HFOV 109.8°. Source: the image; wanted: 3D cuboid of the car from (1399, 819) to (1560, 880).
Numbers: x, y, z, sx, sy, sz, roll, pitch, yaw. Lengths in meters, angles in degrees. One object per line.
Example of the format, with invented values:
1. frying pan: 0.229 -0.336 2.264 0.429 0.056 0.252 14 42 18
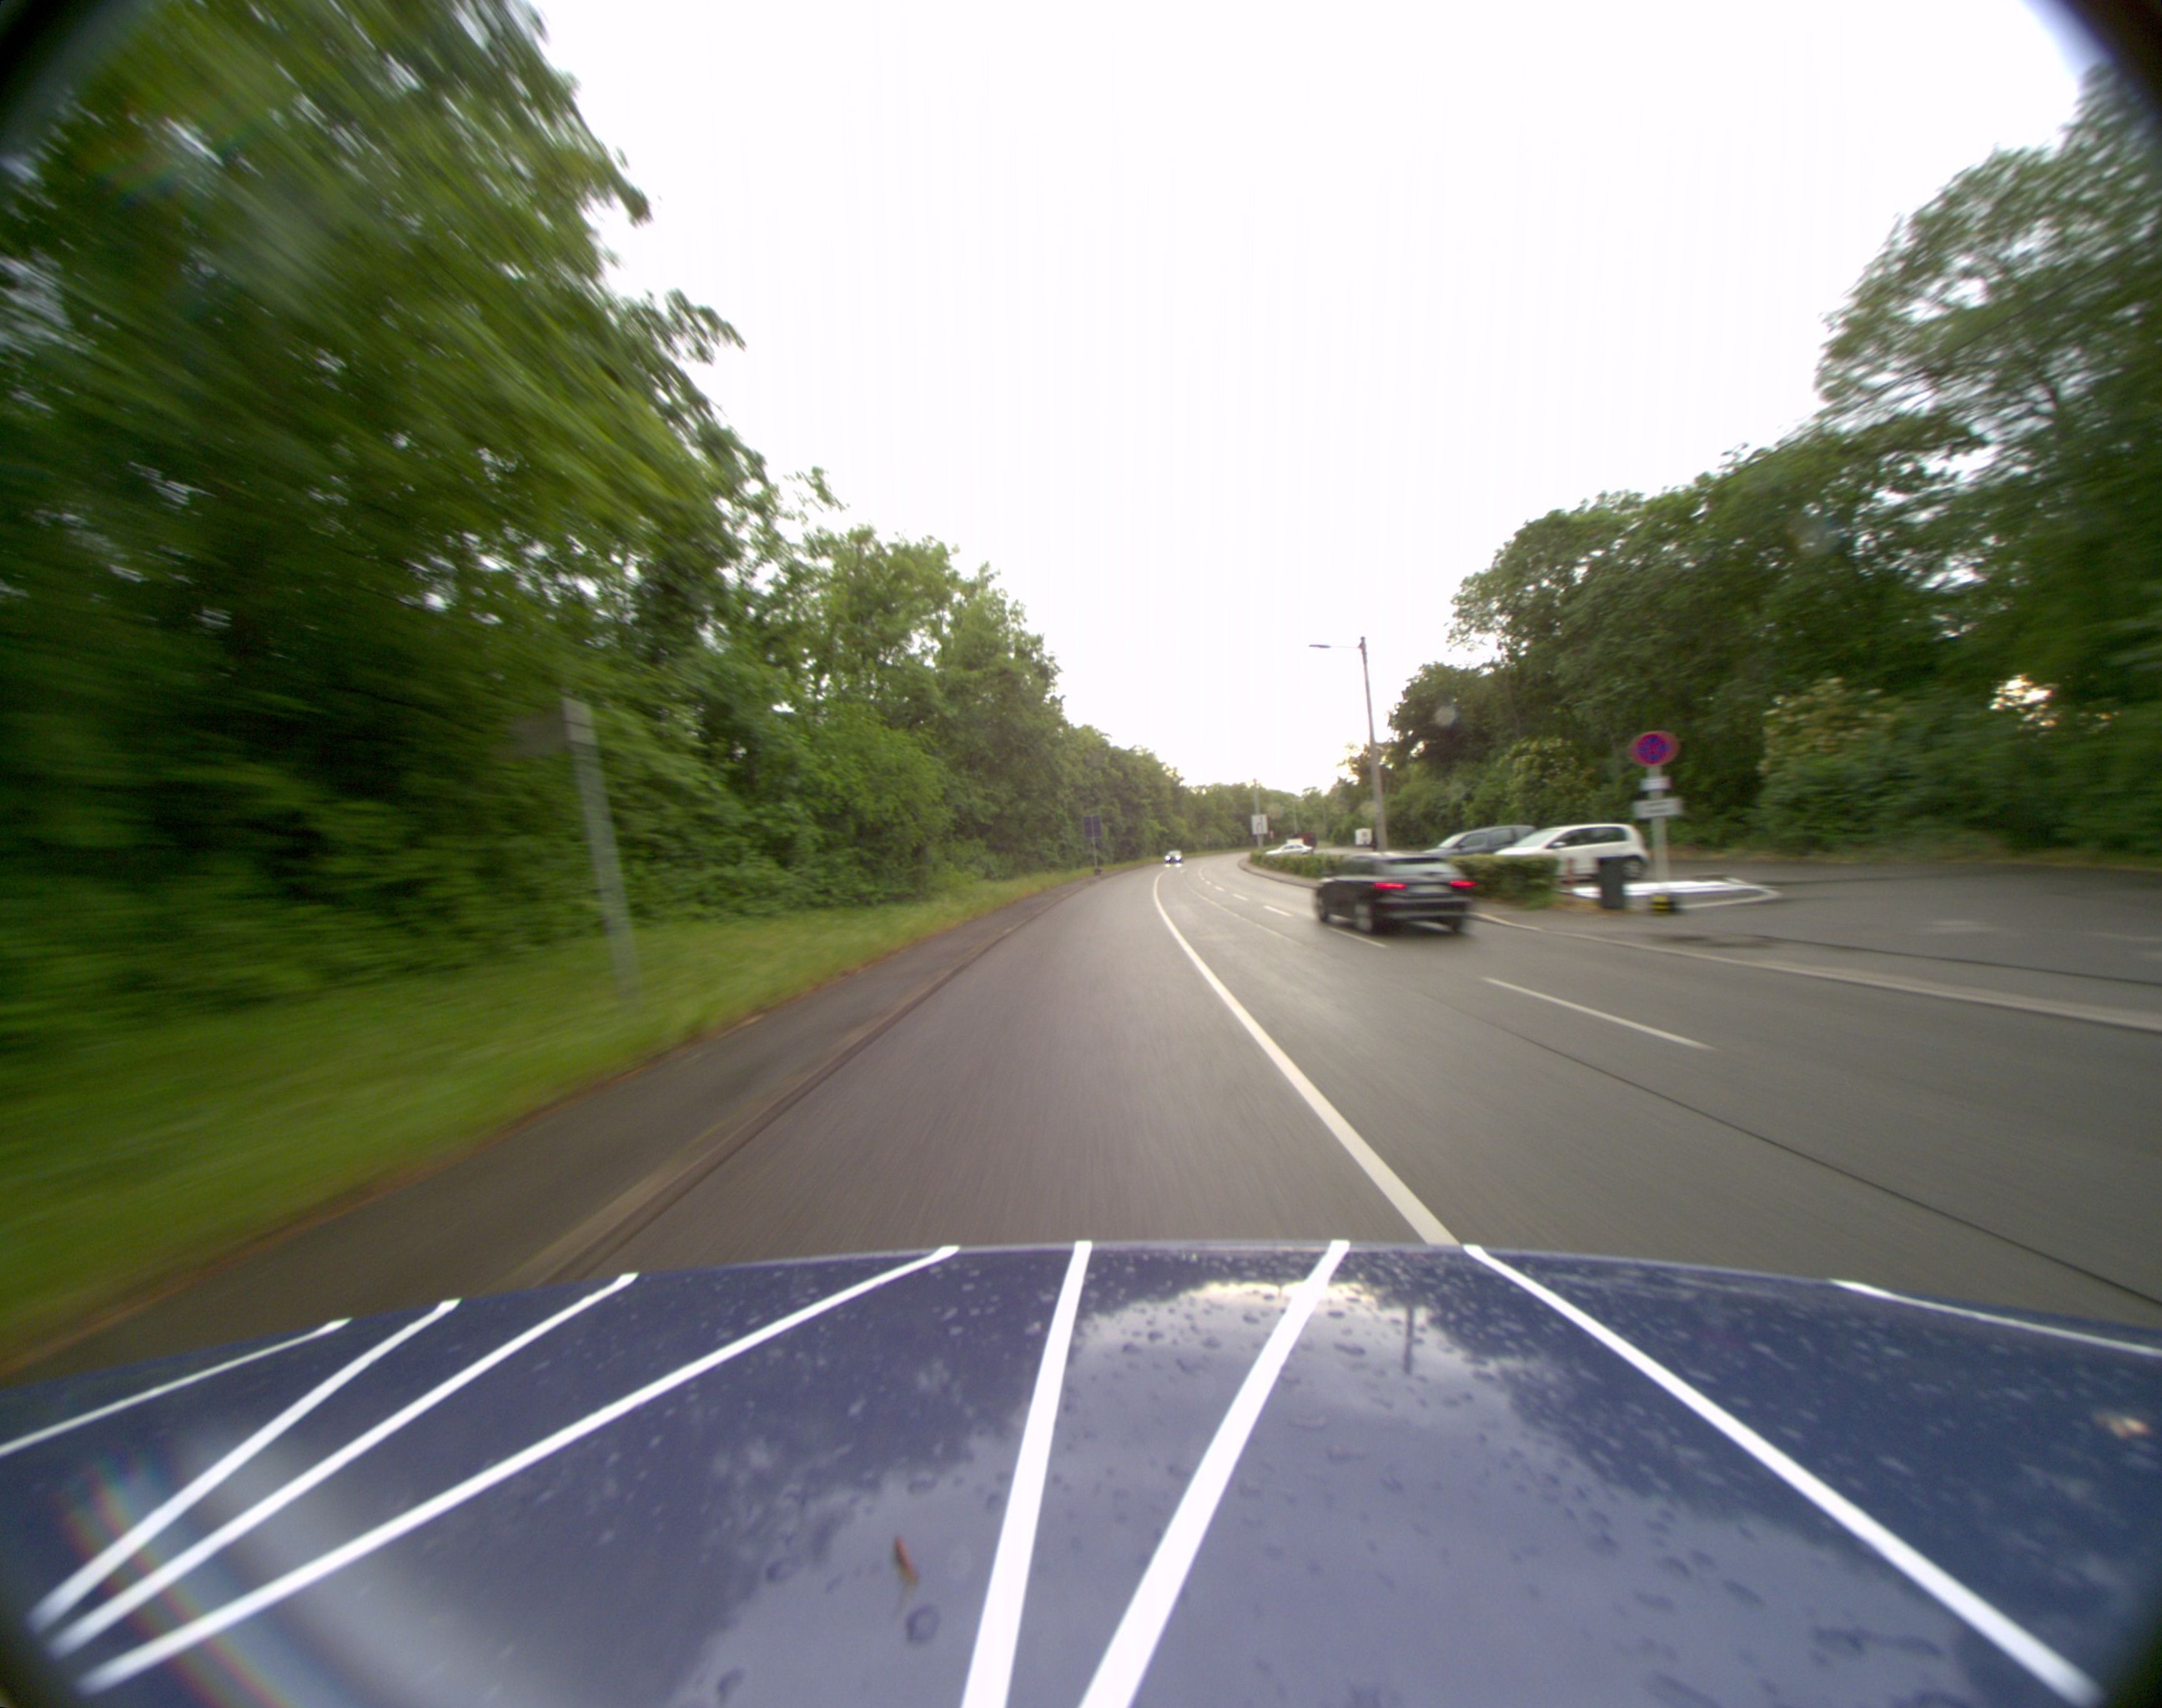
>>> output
1. car: 13.203 -0.138 25.458 4.299 1.698 2.001 -4 1 9

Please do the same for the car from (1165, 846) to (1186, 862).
1. car: 10.959 -0.044 88.126 1.997 1.674 4.003 -2 1 13

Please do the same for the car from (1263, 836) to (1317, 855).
1. car: 19.592 -0.772 71.403 4.585 1.497 2.001 -3 1 6

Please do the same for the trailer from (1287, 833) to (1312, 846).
1. trailer: 37.617 -2.574 130.846 3.991 2.041 1.875 -2 1 21

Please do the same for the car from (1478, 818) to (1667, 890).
1. car: 12.710 -0.006 19.823 3.653 1.582 1.852 -4 1 2

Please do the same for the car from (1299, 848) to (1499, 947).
1. car: 5.722 0.679 14.342 1.940 1.490 4.317 -3 0 0

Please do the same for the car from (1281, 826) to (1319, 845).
1. car: 39.279 -3.337 136.010 6.280 3.096 2.754 -3 2 18

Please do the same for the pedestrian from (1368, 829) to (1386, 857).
1. pedestrian: 19.664 -0.725 50.433 0.818 1.787 1.136 -3 1 8

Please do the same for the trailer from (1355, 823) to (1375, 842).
1. trailer: 45.580 -3.469 122.101 2.479 2.857 7.985 -2 1 18

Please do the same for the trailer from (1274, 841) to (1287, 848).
1. trailer: 29.333 -1.404 111.877 1.804 1.029 1.335 -3 1 14
